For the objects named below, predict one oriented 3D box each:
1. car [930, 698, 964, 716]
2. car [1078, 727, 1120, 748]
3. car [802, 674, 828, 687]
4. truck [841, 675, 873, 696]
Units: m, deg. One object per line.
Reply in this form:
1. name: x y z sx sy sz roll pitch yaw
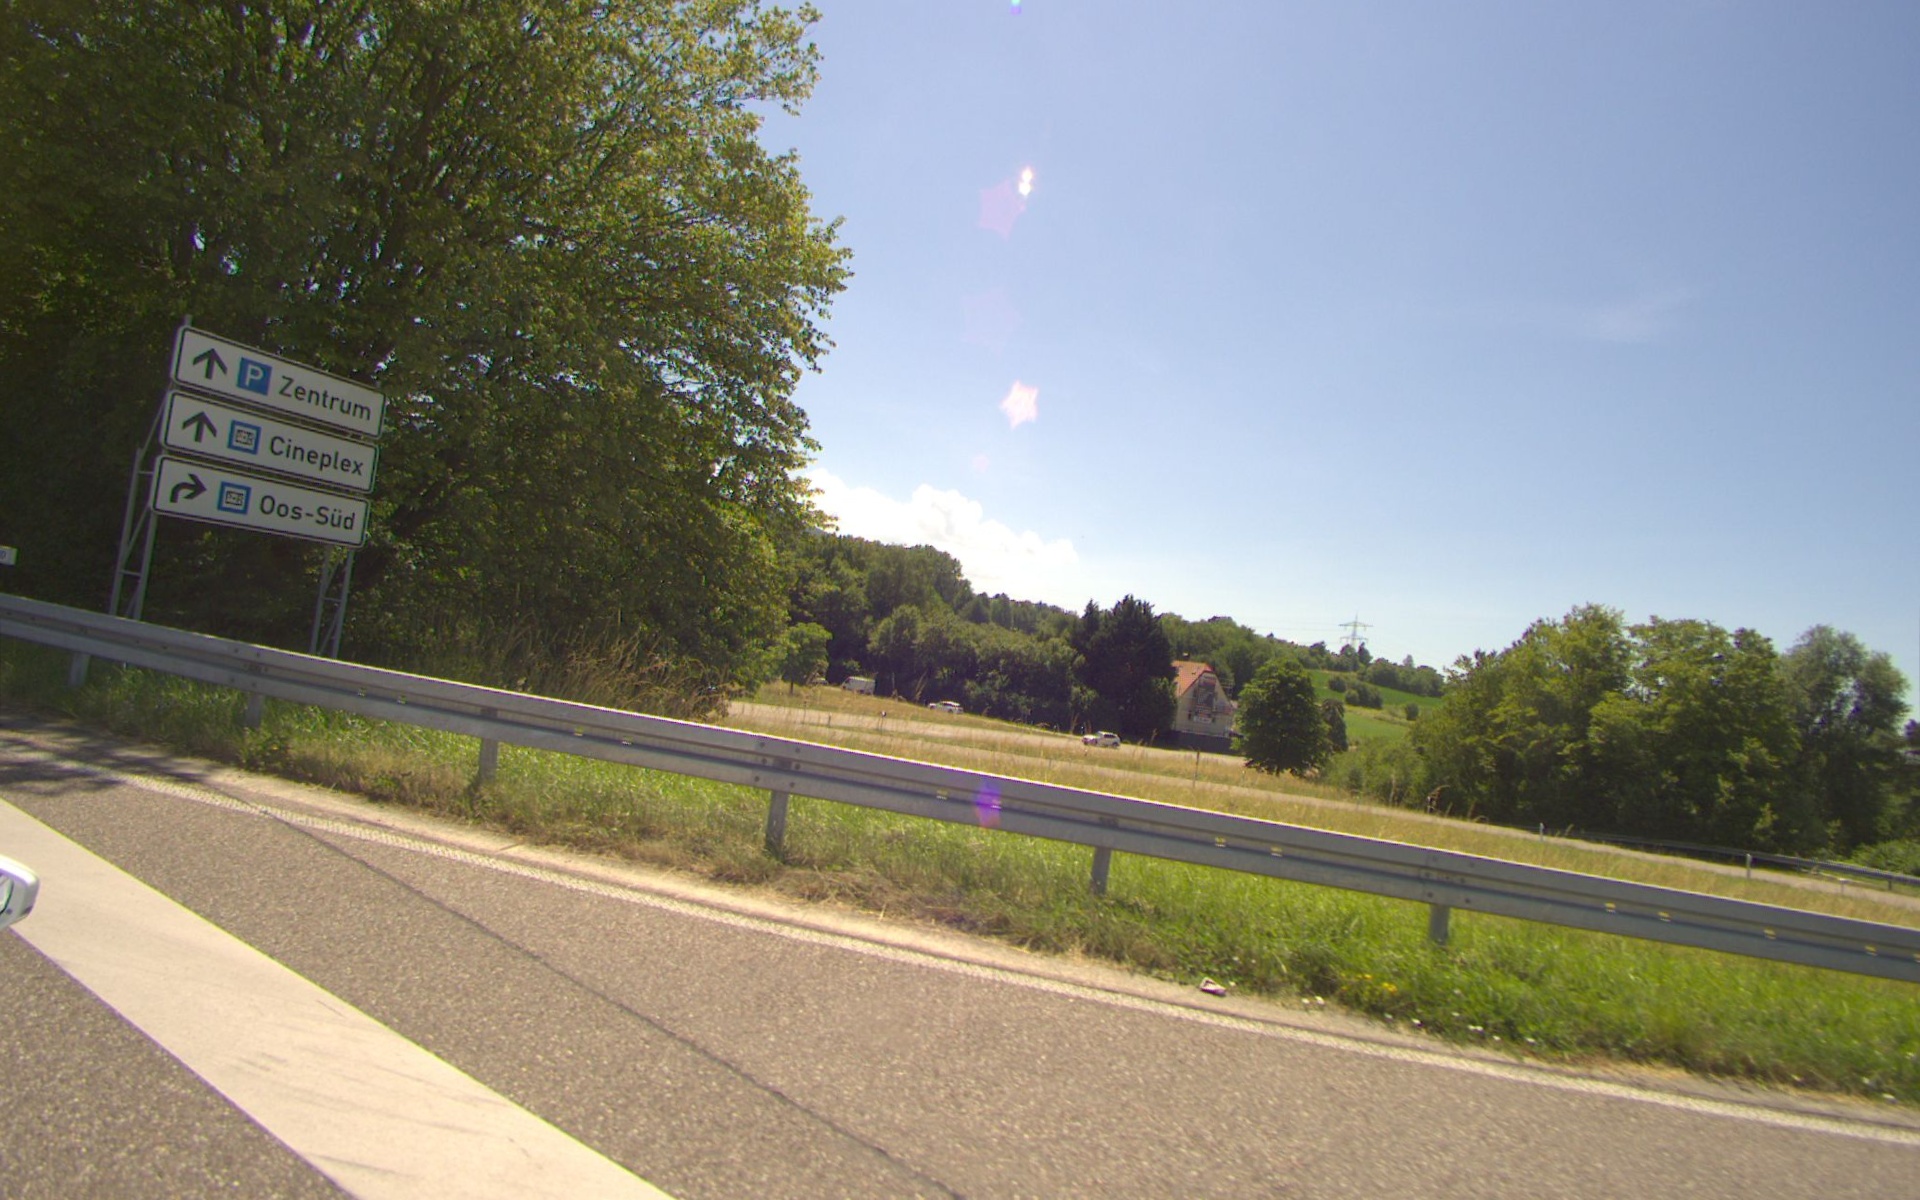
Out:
1. car: -1.549 13.142 123.471 3.776 1.553 1.314 7 -3 21
2. car: 14.988 14.846 108.562 4.221 1.652 1.508 10 -4 -24
3. car: -20.302 11.270 140.653 3.311 1.417 1.703 7 -1 39
4. truck: -13.814 11.481 134.973 4.132 2.286 1.642 7 -1 39
